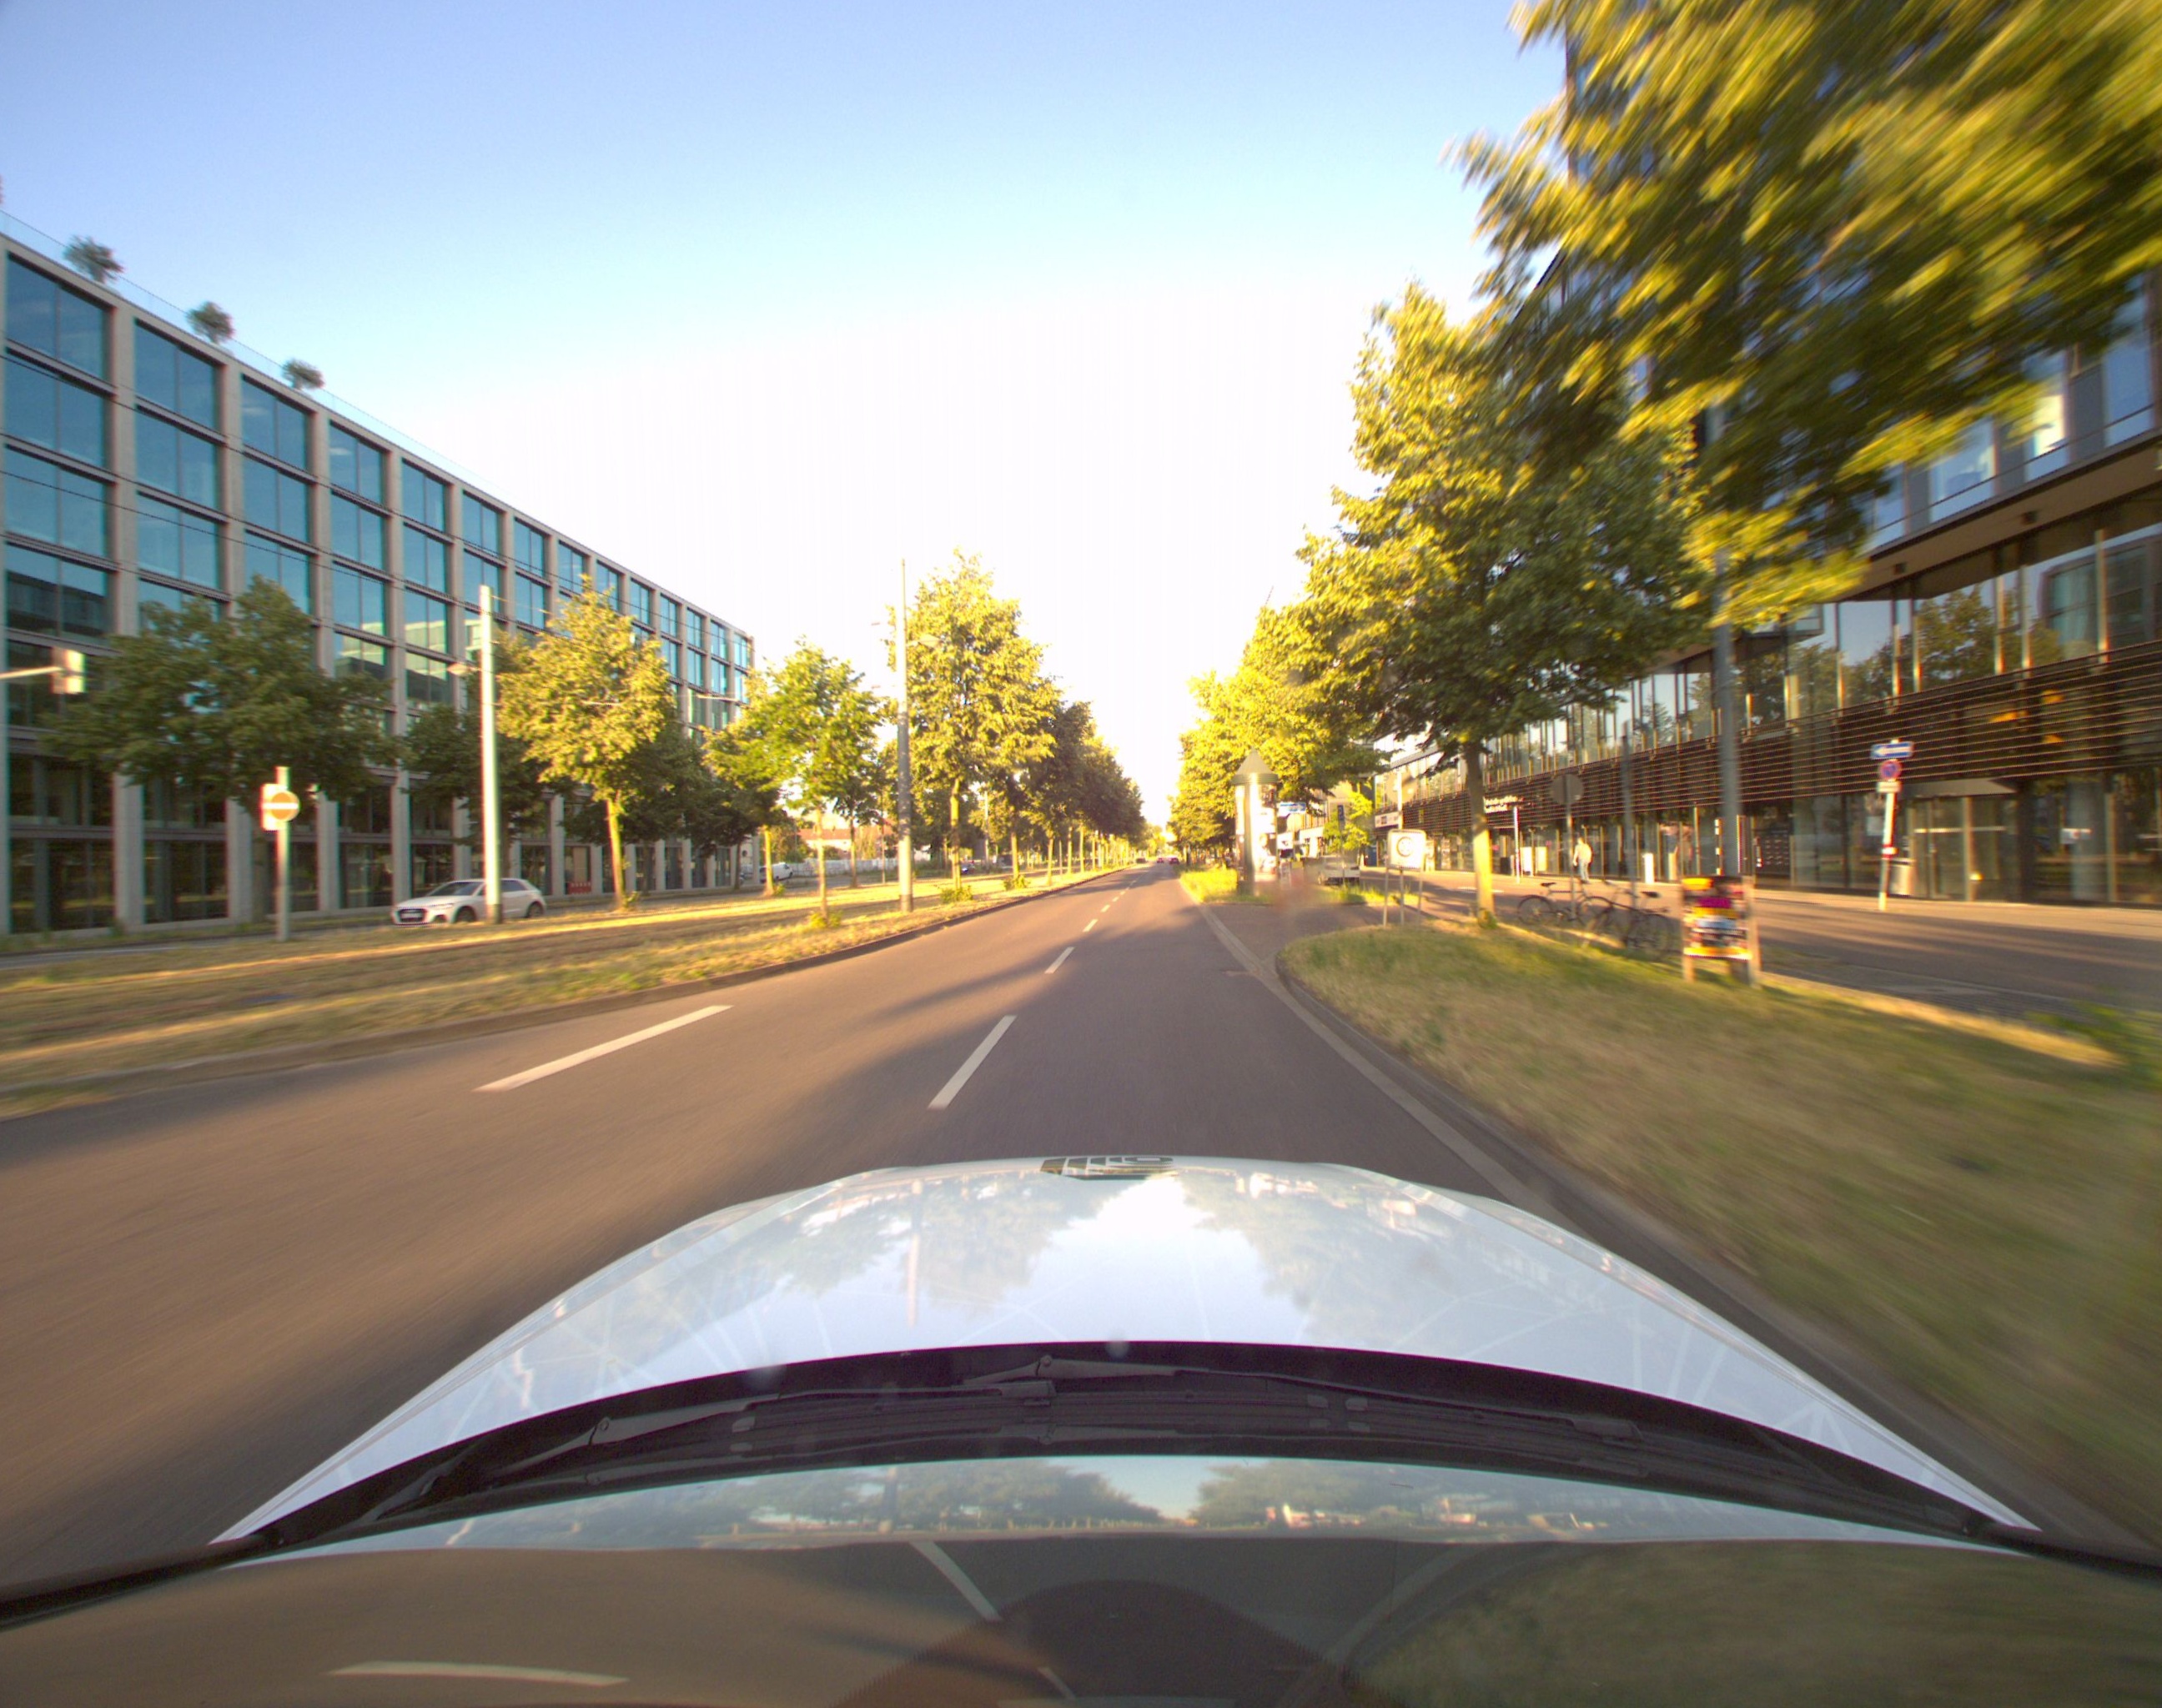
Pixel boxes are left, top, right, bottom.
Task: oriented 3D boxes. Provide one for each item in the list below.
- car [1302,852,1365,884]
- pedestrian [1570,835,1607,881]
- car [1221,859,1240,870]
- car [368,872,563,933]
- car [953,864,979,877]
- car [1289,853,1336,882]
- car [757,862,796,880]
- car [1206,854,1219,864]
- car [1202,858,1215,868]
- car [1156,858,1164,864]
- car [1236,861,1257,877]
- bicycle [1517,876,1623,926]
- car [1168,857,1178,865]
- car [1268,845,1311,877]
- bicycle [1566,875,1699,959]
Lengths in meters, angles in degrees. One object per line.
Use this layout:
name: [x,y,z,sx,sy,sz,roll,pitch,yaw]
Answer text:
car: [12.427,0.664,40.392,1.908,1.496,5.046,-1,-1,4]
pedestrian: [20.219,0.149,32.442,0.892,1.797,0.913,-2,-1,4]
car: [18.959,1.316,103.397,1.844,1.367,4.839,-2,-1,4]
car: [-17.646,1.328,23.710,1.894,1.485,4.636,-2,0,4]
car: [-13.623,1.913,96.683,1.920,1.422,4.397,-2,-1,7]
car: [13.140,0.728,46.489,1.850,1.496,4.297,-2,0,6]
car: [-35.703,1.965,95.622,2.195,2.014,5.092,-2,-1,6]
car: [22.287,0.851,138.076,1.983,1.642,4.887,-2,-1,7]
car: [23.638,1.675,150.824,1.985,1.852,4.670,-2,-1,4]
car: [20.307,1.791,208.728,1.902,1.486,4.005,-1,-1,5]
car: [16.795,1.472,82.770,1.771,1.494,4.006,2,0,6]
bicycle: [9.448,0.896,15.764,1.701,0.910,0.364,-2,0,39]
car: [18.368,1.454,162.370,1.902,1.486,4.005,-1,-1,5]
car: [13.685,0.459,53.661,1.977,1.989,4.939,-1,-1,5]
bicycle: [7.416,0.811,11.051,0.577,0.995,1.685,-2,-1,-2]
